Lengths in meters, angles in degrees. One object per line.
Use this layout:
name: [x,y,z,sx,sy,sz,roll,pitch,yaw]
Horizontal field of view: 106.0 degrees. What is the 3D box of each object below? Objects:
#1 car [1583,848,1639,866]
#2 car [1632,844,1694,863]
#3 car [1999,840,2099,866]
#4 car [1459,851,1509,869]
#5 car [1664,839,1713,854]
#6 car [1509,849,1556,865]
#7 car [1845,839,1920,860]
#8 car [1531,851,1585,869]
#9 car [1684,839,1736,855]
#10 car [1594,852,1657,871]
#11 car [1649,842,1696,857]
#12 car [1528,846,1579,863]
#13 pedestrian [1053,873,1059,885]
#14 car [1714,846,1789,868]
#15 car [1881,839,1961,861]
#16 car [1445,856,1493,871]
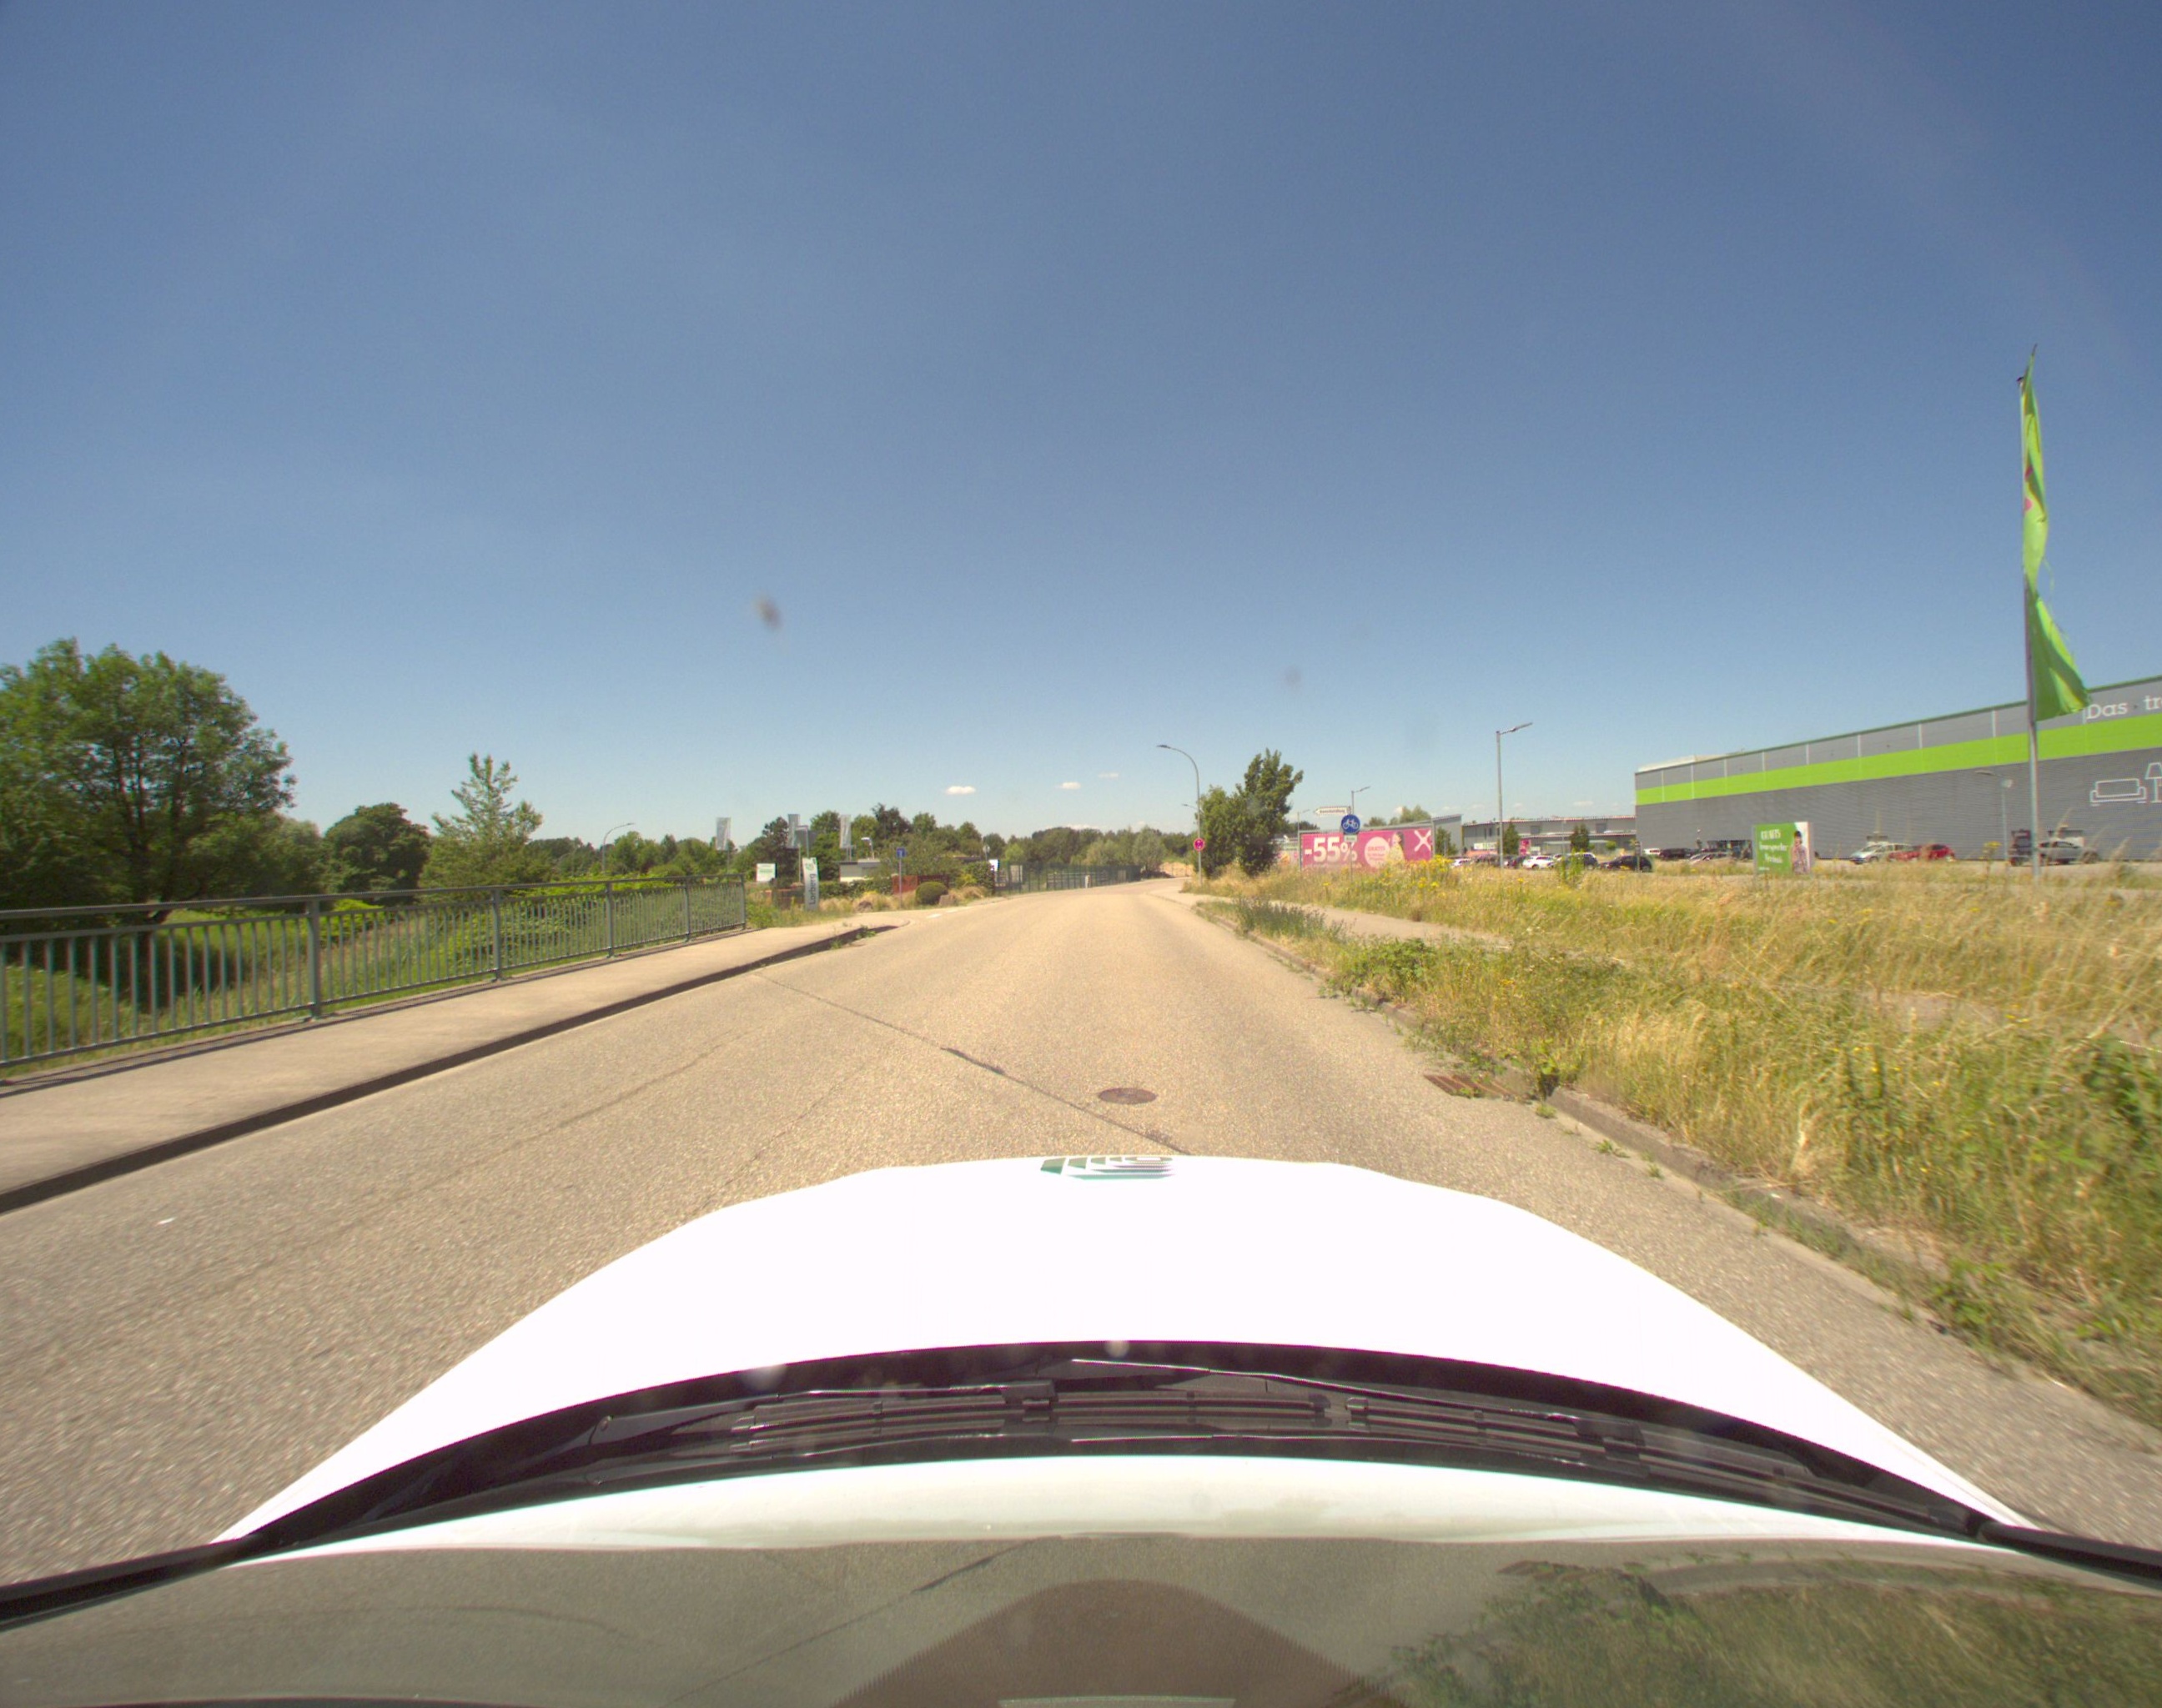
car: [50.405,0.259,77.559,3.969,1.519,2.002,-2,-2,4]
car: [51.365,-0.015,71.931,3.969,1.519,2.002,-2,-2,4]
car: [63.589,-0.064,53.560,3.969,1.519,2.002,-2,-2,4]
car: [36.902,0.572,74.591,3.715,1.570,1.895,-1,0,8]
car: [69.125,-0.836,92.698,3.969,1.519,2.002,-2,-2,4]
car: [48.424,0.310,87.392,3.966,1.519,2.003,-2,-2,6]
car: [65.137,-0.380,66.252,3.969,1.475,2.002,-2,-2,4]
car: [45.761,0.562,78.201,3.969,1.519,2.002,-2,-2,4]
car: [68.794,-0.742,89.098,3.969,1.519,2.002,-2,-2,4]
car: [46.097,0.629,69.021,3.969,1.475,2.002,-2,-2,4]
car: [69.418,-0.491,95.650,3.969,1.519,2.002,-2,-2,4]
car: [48.315,0.075,83.376,3.966,1.519,2.003,-2,-2,6]
pedestrian: [-3.758,3.753,123.393,0.602,1.839,0.807,-3,-2,10]
car: [51.060,0.245,62.061,3.969,1.519,2.002,-2,-2,4]
car: [65.011,-0.297,63.100,3.969,1.519,2.002,-2,-2,4]
car: [37.045,0.898,77.873,3.715,1.444,1.947,-1,0,8]
